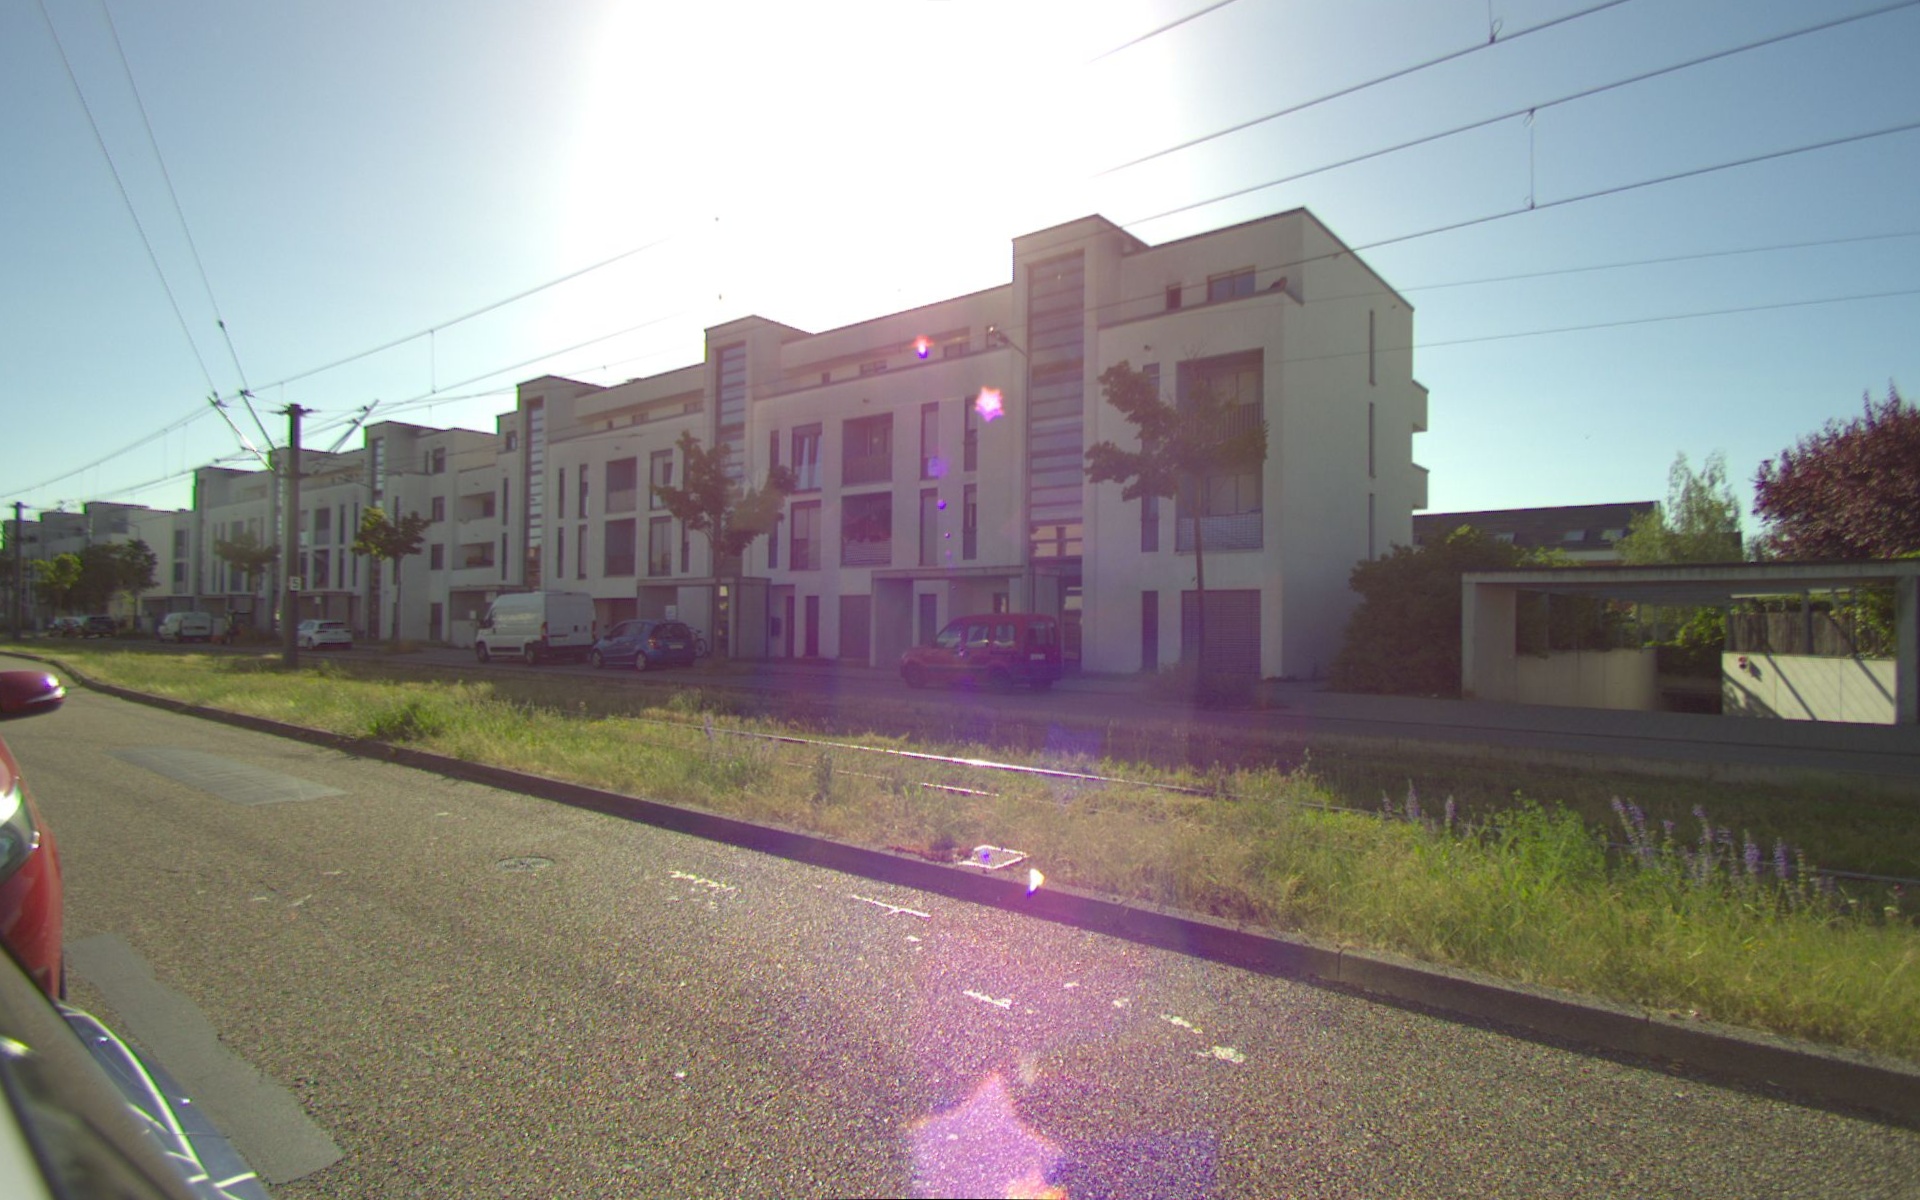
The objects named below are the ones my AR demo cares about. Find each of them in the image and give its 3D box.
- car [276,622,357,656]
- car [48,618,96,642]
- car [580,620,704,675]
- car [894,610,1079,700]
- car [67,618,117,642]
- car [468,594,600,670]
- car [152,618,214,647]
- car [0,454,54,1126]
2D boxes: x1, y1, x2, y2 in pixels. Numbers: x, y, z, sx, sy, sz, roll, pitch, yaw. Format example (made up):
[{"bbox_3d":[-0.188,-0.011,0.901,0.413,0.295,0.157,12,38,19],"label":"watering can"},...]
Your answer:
[{"bbox_3d":[-31.128,1.835,48.903,4.277,1.517,1.900,-1,0,37],"label":"car"},{"bbox_3d":[-67.514,2.251,76.934,4.277,1.693,1.900,-1,0,37],"label":"car"},{"bbox_3d":[-9.993,1.444,31.744,3.833,1.556,1.973,-1,0,40],"label":"car"},{"bbox_3d":[0.545,1.165,23.023,3.895,1.842,1.972,-1,0,43],"label":"car"},{"bbox_3d":[-62.969,2.161,73.410,4.277,1.693,1.900,-1,0,37],"label":"car"},{"bbox_3d":[-15.187,1.071,35.949,5.193,2.491,2.197,-1,0,40],"label":"car"},{"bbox_3d":[-47.348,1.958,61.629,4.277,1.693,1.900,-1,0,37],"label":"car"},{"bbox_3d":[-4.894,0.556,3.683,4.505,1.868,1.850,-1,0,41],"label":"car"}]
